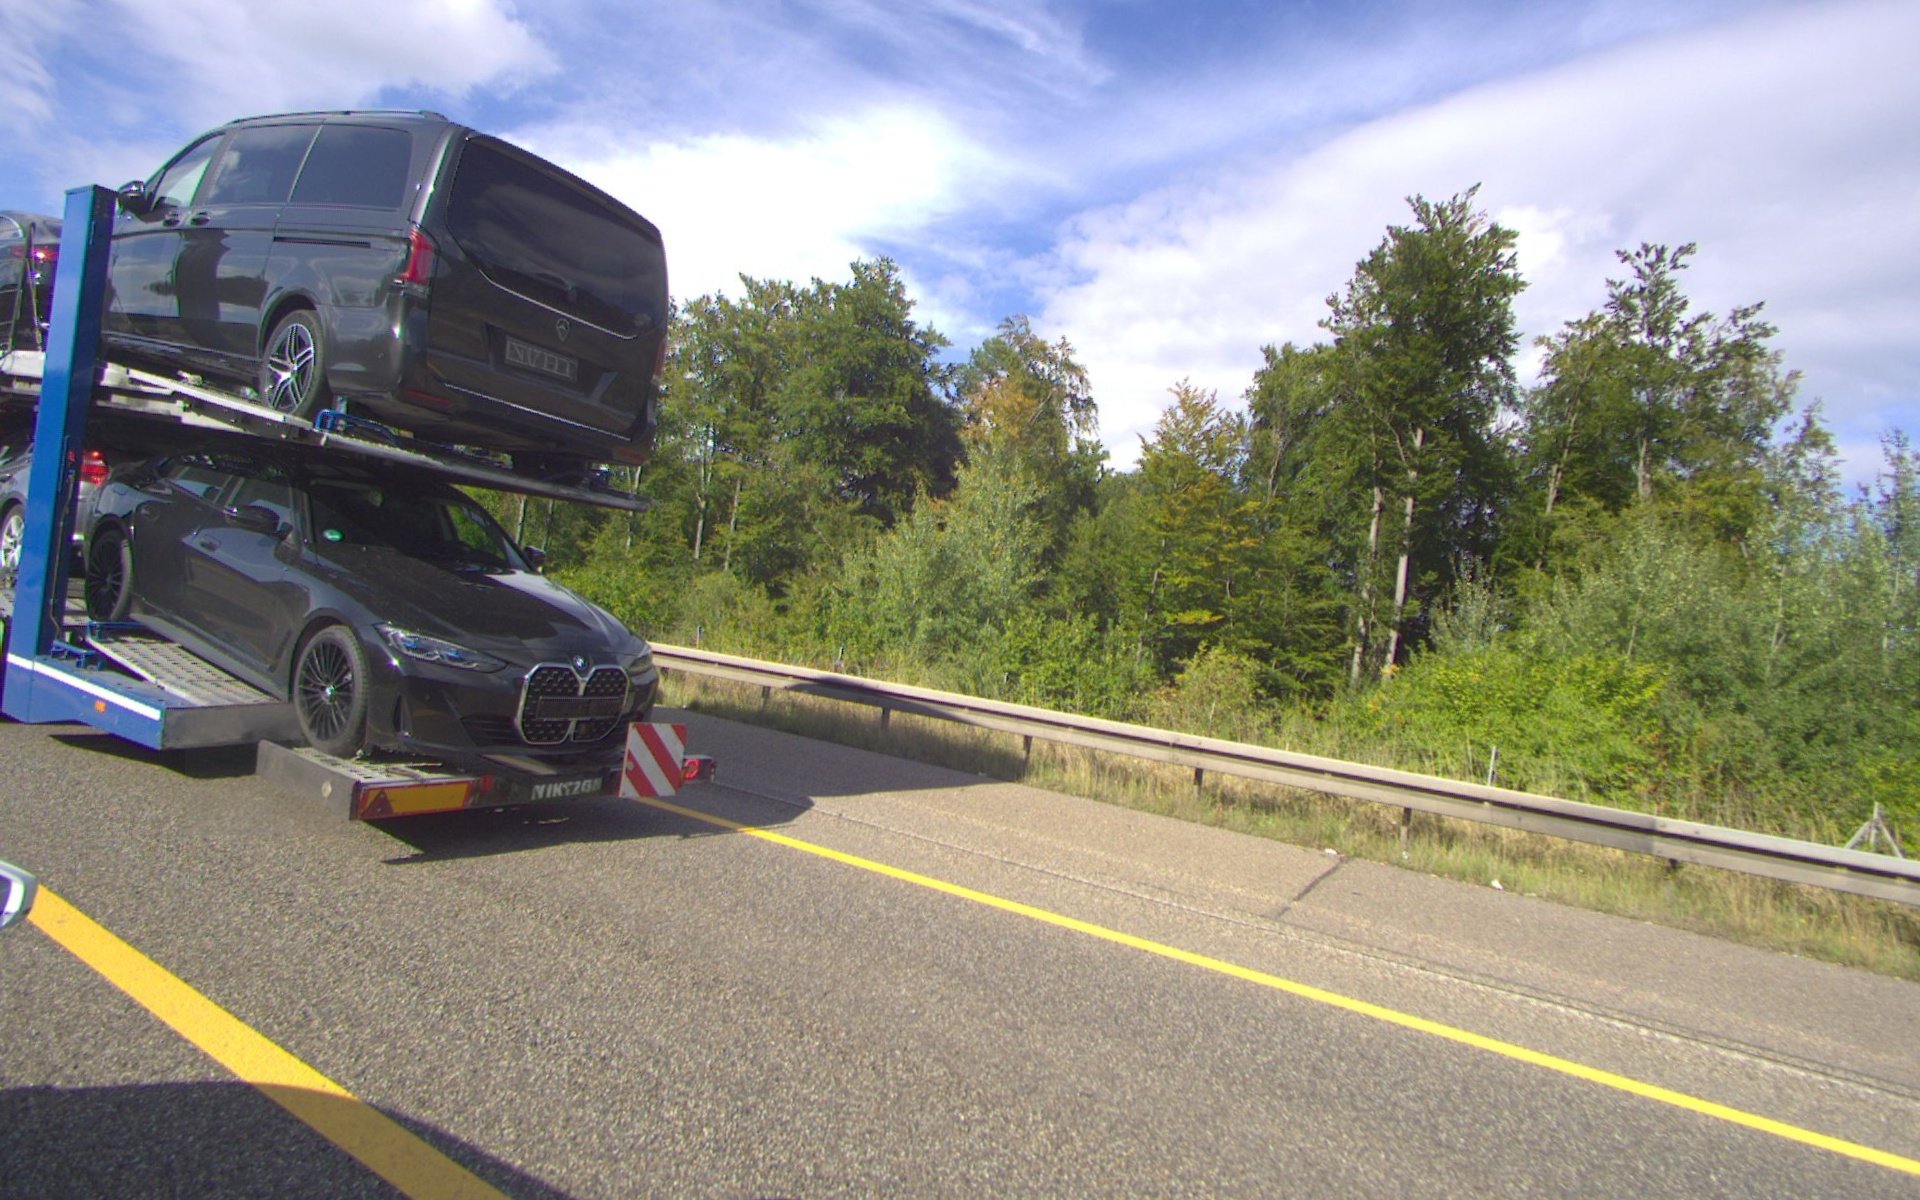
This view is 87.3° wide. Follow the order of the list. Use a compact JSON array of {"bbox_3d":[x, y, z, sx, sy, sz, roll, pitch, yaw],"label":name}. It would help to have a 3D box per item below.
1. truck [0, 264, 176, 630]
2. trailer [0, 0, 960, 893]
[{"bbox_3d":[-15.078,-2.257,13.809,7.816,4.245,3.770,6,-2,30],"label":"truck"},{"bbox_3d":[-7.994,-1.479,9.748,15.955,4.245,3.734,6,-2,31],"label":"trailer"}]
